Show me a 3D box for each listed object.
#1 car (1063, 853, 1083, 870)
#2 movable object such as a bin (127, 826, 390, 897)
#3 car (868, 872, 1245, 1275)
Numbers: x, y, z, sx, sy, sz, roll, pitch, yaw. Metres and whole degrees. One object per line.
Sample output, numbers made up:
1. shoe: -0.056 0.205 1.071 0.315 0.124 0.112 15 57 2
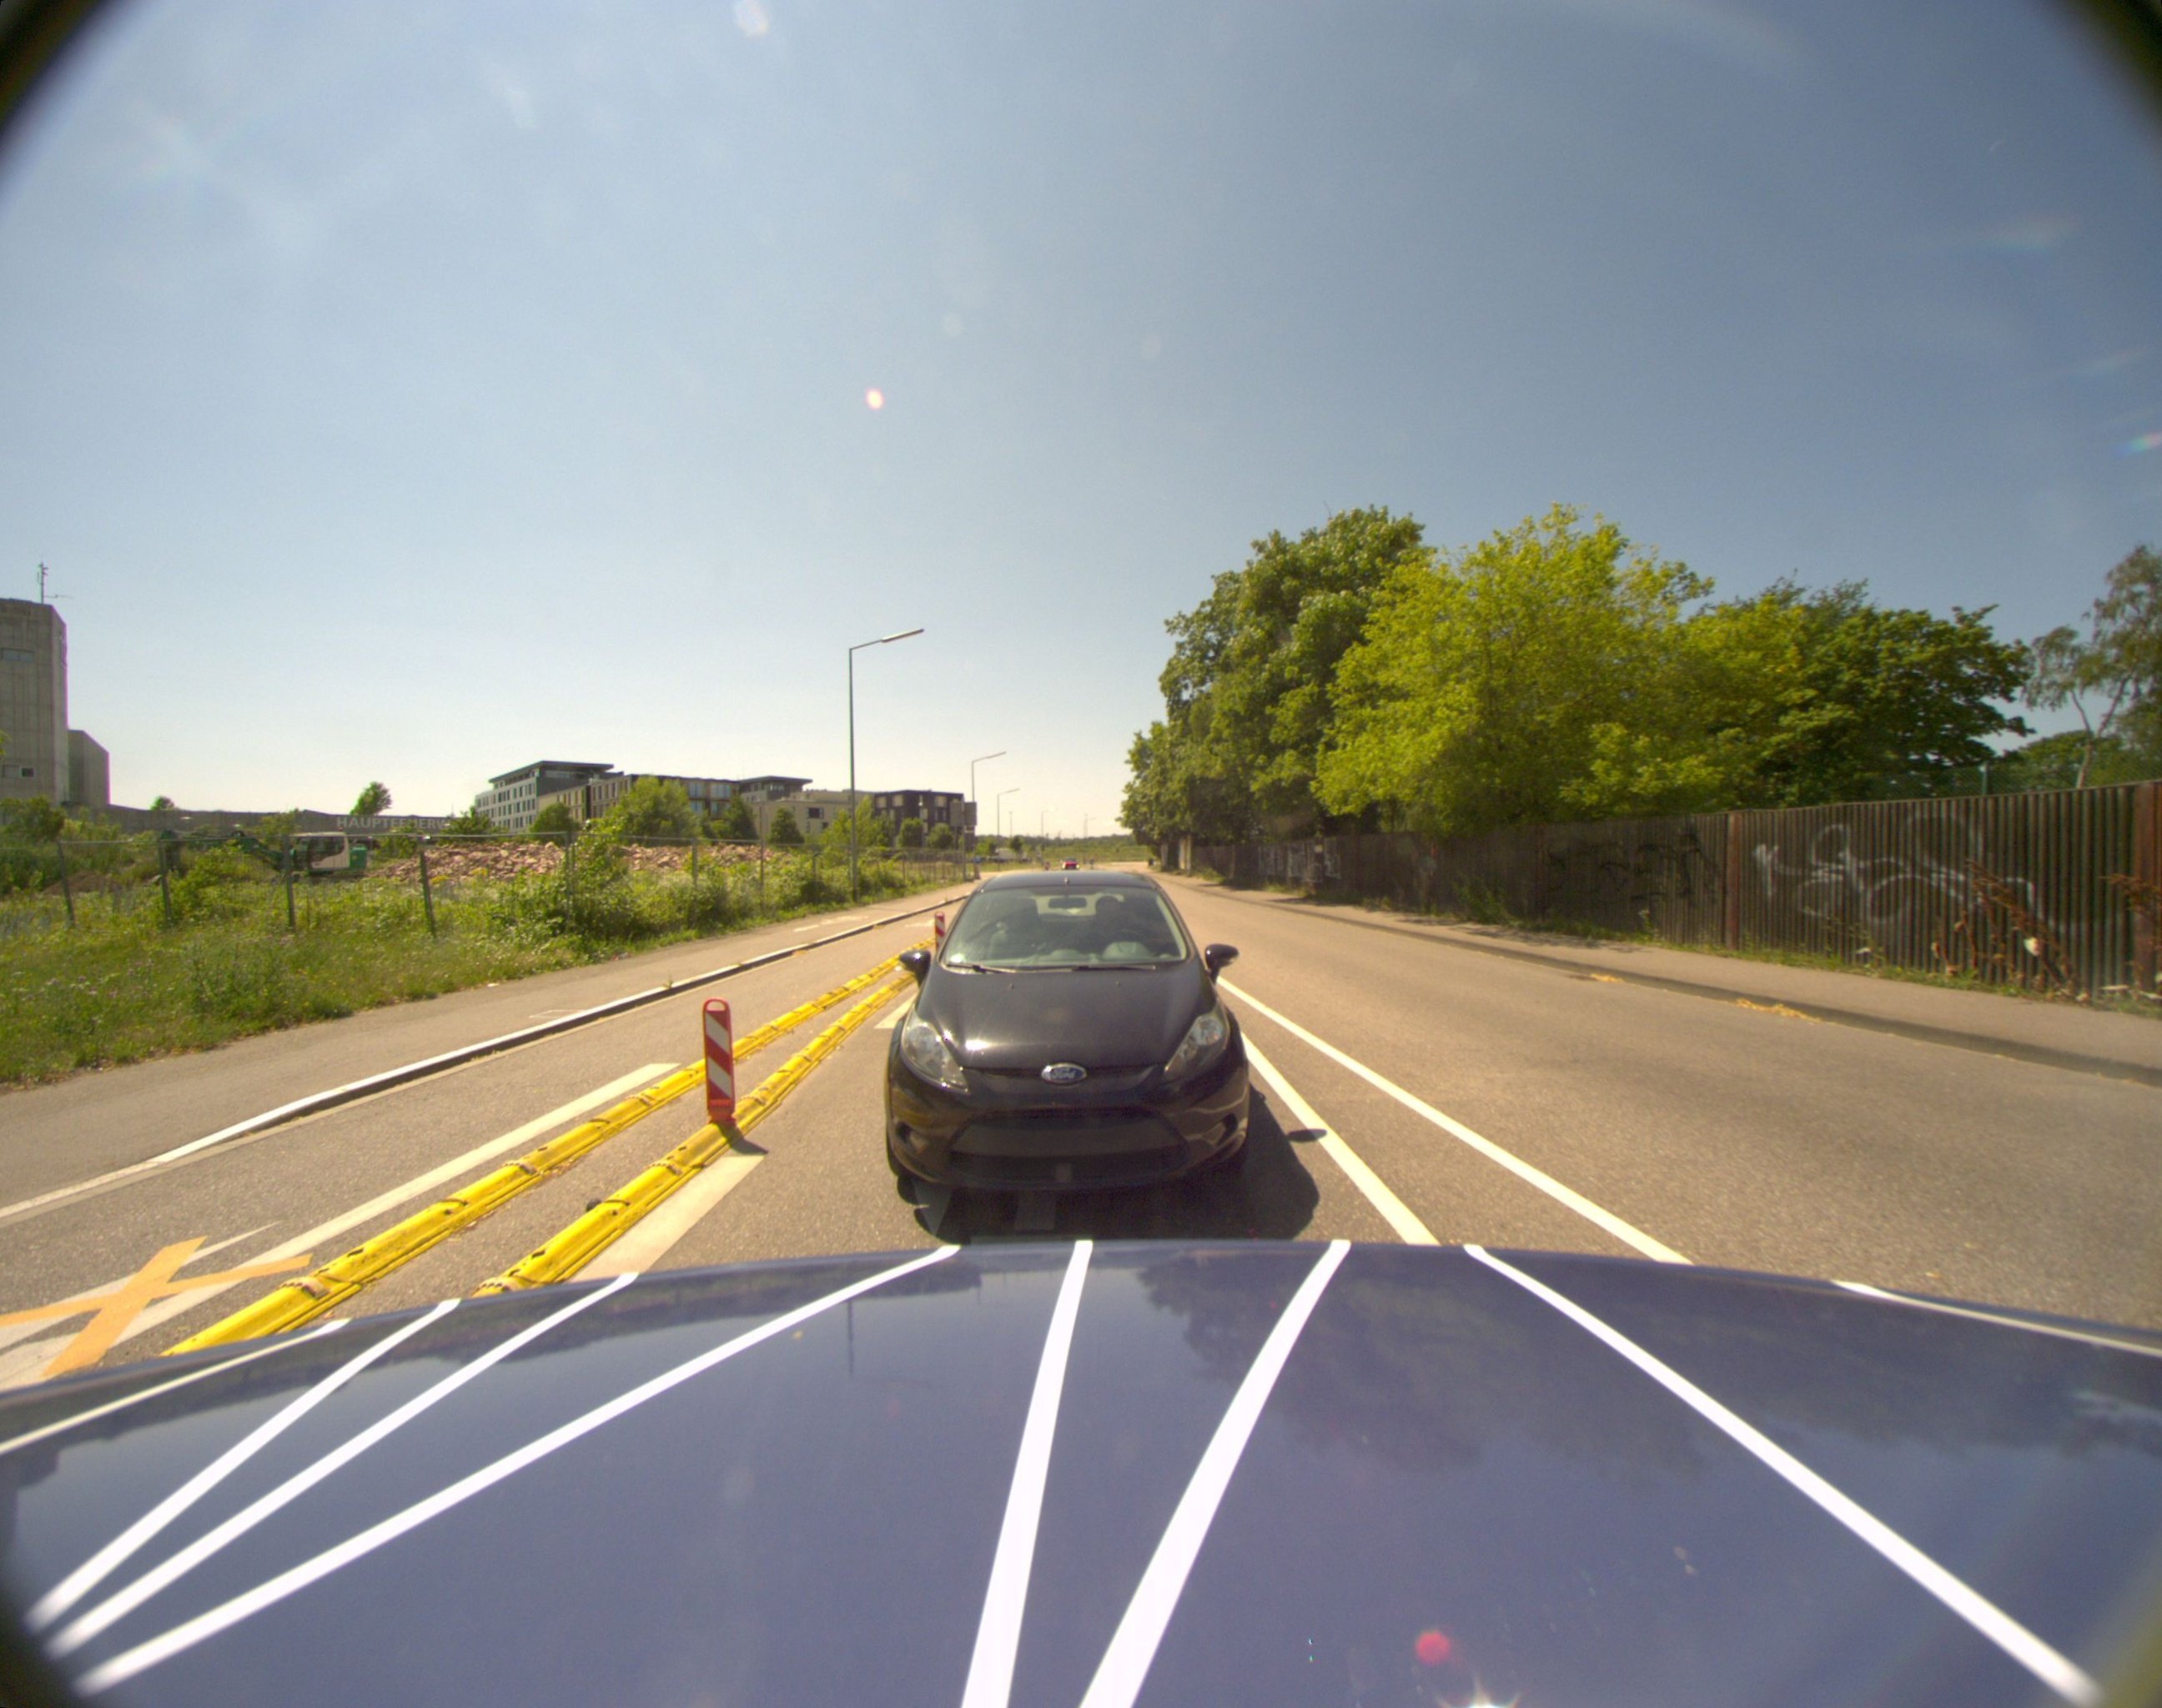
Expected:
1. car: -0.805 0.727 77.953 1.924 1.643 4.668 -2 1 1
2. movable object such as a bin: -38.355 0.259 35.948 3.231 2.899 7.702 -2 1 15
3. car: -0.075 0.973 5.192 1.528 1.510 3.999 -2 1 1
